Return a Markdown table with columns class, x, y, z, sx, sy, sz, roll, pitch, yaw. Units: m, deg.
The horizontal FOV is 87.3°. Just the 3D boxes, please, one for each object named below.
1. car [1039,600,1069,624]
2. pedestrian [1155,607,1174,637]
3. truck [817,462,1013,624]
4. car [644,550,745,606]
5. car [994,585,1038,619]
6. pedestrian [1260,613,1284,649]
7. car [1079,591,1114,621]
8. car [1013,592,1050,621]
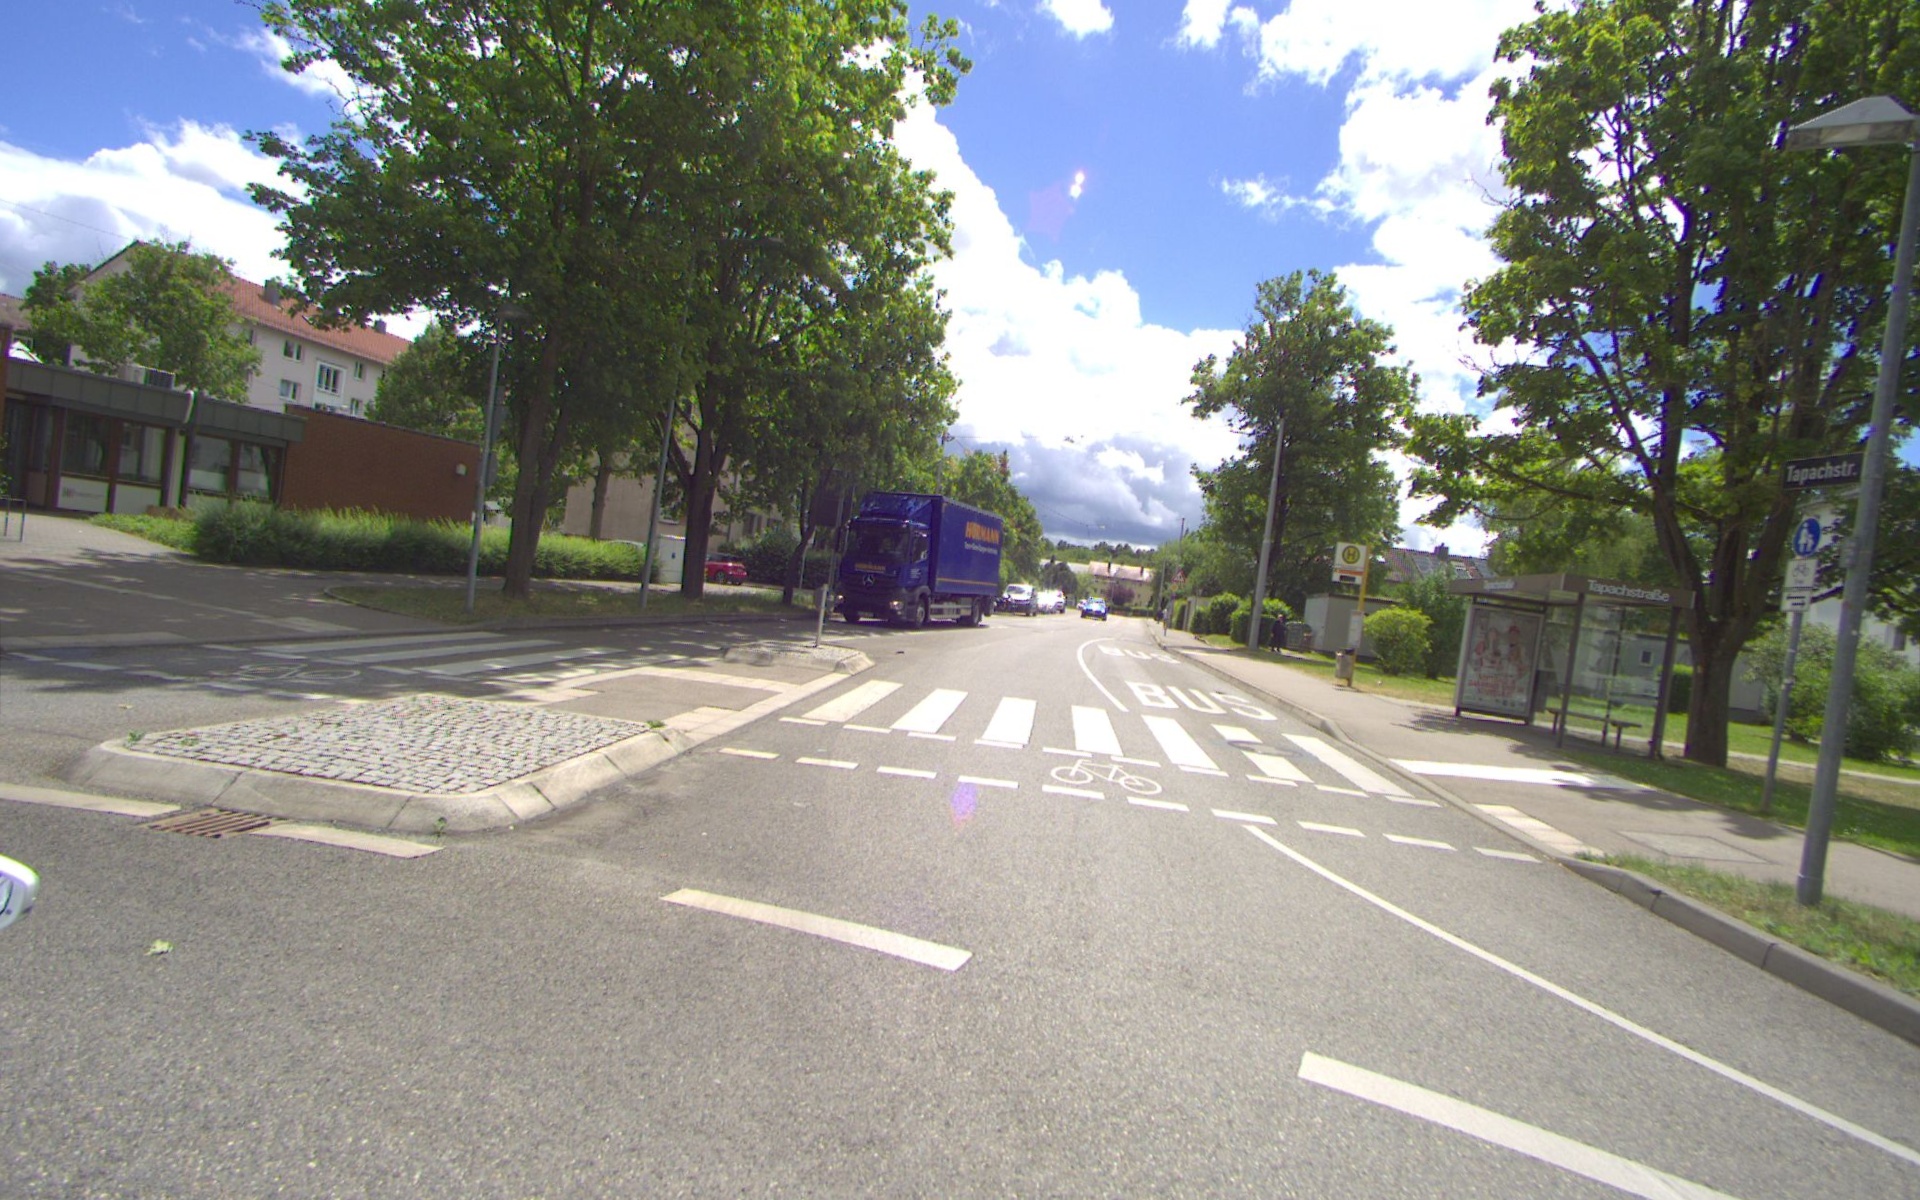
| class | x | y | z | sx | sy | sz | roll | pitch | yaw |
| --- | --- | --- | --- | --- | --- | --- | --- | --- | --- |
| car | 7.521 | 0.952 | 80.047 | 1.962 | 1.571 | 4.002 | 8 | 0 | 9 |
| pedestrian | 15.064 | 1.607 | 74.156 | 1.005 | 2.040 | 1.041 | 7 | 3 | 8 |
| truck | -1.077 | -1.538 | 33.254 | 2.737 | 4.204 | 9.797 | 8 | 0 | 18 |
| car | -12.505 | -1.011 | 47.461 | 3.924 | 1.965 | 2.019 | 9 | 0 | 14 |
| car | 3.346 | 0.155 | 59.103 | 1.962 | 1.571 | 4.002 | 8 | 0 | 9 |
| pedestrian | 15.036 | 1.477 | 48.458 | 0.886 | 1.602 | 0.660 | 8 | 3 | 18 |
| car | 10.084 | 0.501 | 74.064 | 1.962 | 1.802 | 4.002 | 8 | 0 | 13 |
| car | 4.866 | 0.457 | 68.320 | 1.962 | 1.571 | 4.002 | 8 | 0 | 9 |
